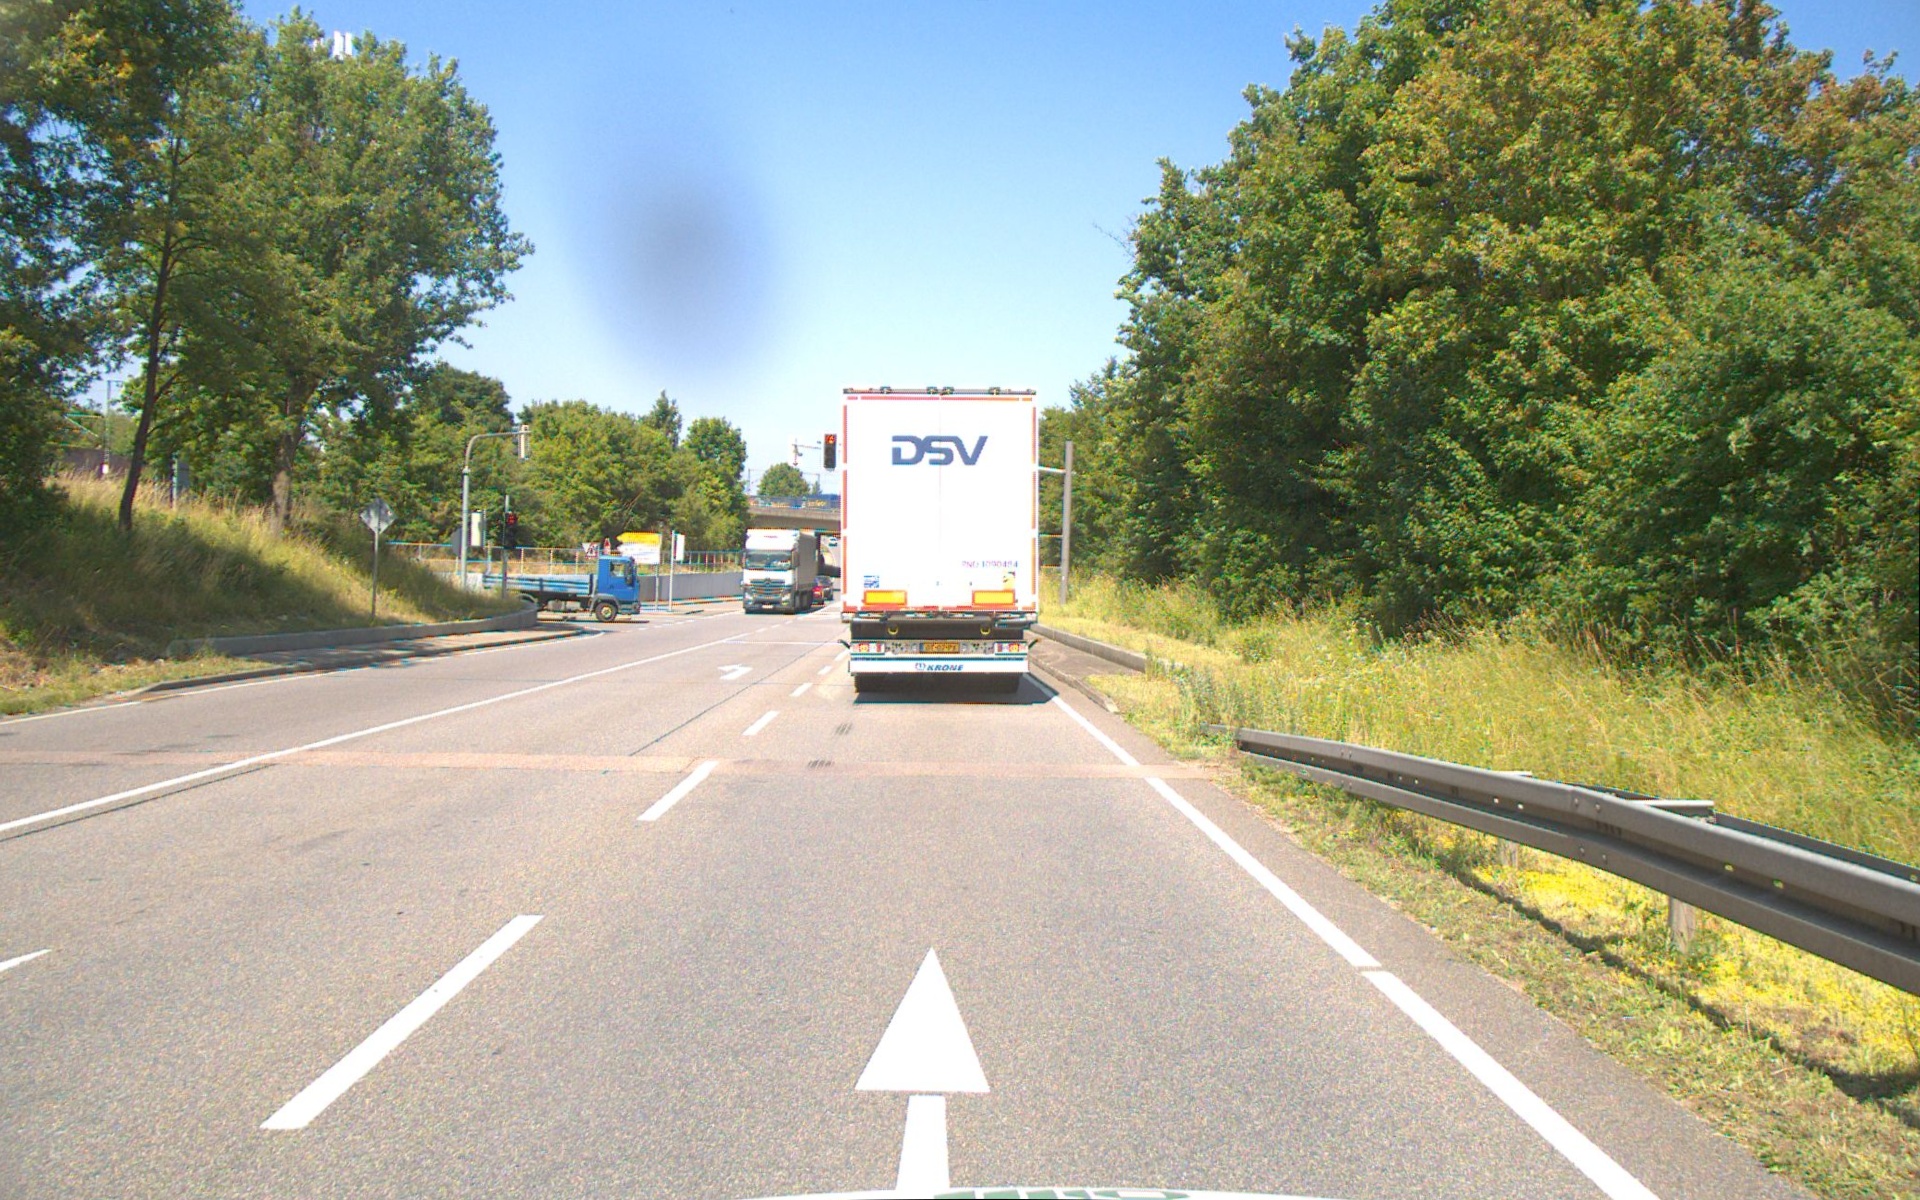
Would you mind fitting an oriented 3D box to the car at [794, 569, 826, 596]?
[{"bbox_3d":[-9.294,-1.098,102.373,1.711,1.654,3.702,1,1,-1],"label":"car"}]

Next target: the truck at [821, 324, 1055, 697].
[{"bbox_3d":[-0.257,-1.167,25.672,2.889,4.648,9.863,1,0,0],"label":"truck"}]

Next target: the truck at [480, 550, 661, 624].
[{"bbox_3d":[-14.322,-0.461,61.136,6.299,2.543,2.706,1,0,-13],"label":"truck"}]

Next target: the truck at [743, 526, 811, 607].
[{"bbox_3d":[-9.285,-1.718,85.012,2.305,3.815,12.623,1,1,-1],"label":"truck"}]
